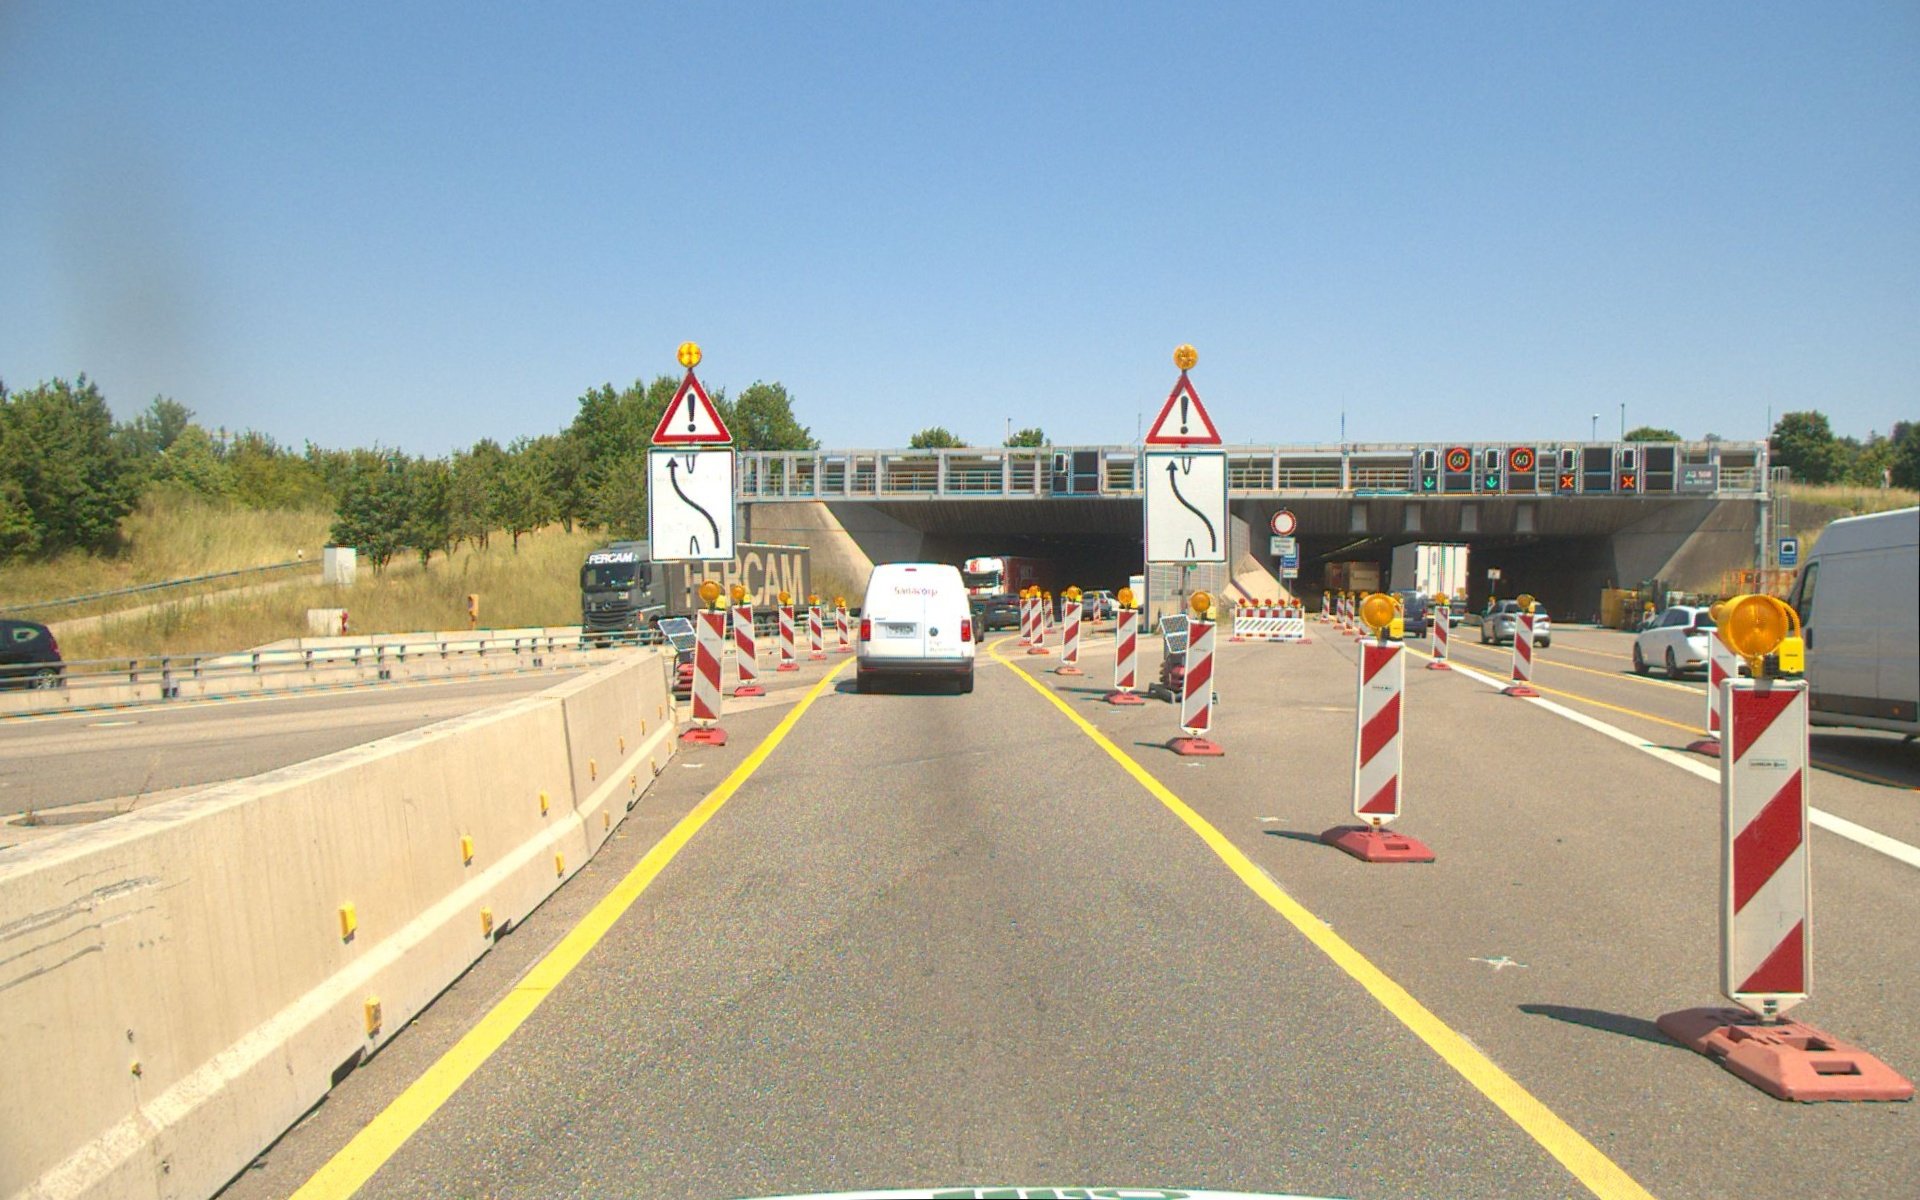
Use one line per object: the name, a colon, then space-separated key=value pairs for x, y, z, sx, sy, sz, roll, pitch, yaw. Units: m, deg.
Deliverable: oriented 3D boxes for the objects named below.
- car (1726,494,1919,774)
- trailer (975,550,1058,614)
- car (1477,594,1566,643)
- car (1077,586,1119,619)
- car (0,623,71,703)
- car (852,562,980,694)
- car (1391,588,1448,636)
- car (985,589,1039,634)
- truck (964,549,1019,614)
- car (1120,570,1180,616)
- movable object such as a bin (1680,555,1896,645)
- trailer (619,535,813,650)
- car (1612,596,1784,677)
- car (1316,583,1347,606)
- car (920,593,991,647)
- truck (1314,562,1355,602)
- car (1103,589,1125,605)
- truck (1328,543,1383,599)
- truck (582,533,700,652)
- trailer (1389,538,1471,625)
car: x=10.054 y=0.332 z=16.489 sx=2.218 sy=2.580 sz=6.588 roll=1 pitch=0 yaw=5
trailer: x=4.096 y=-1.174 z=115.394 sx=2.288 sy=4.174 sz=13.268 roll=-1 pitch=0 yaw=18
car: x=18.499 y=0.580 z=54.658 sx=1.776 sy=1.490 sz=4.656 roll=2 pitch=0 yaw=6
car: x=7.710 y=0.137 z=92.263 sx=1.770 sy=1.781 sz=4.413 roll=-1 pitch=0 yaw=12
car: x=-19.279 y=1.223 z=31.840 sx=1.679 sy=1.517 sz=3.690 roll=0 pitch=0 yaw=17
car: x=-0.618 y=0.395 z=24.949 sx=1.771 sy=1.825 sz=3.730 roll=0 pitch=0 yaw=0
car: x=16.806 y=0.441 z=60.699 sx=1.776 sy=1.671 sz=4.656 roll=2 pitch=0 yaw=13
car: x=2.259 y=0.464 z=70.867 sx=1.770 sy=1.847 sz=4.413 roll=-1 pitch=0 yaw=9
truck: x=2.130 y=-1.171 z=109.187 sx=2.285 sy=4.180 sz=5.020 roll=-1 pitch=0 yaw=17
car: x=12.617 y=-0.417 z=109.307 sx=2.754 sy=2.822 sz=7.105 roll=1 pitch=-1 yaw=16
movable object such as a bin: x=31.856 y=0.026 z=64.607 sx=3.045 sy=3.063 sz=14.713 roll=-1 pitch=0 yaw=8
trailer: x=-9.913 y=-0.279 z=69.775 sx=2.384 sy=4.372 sz=13.817 roll=0 pitch=0 yaw=17
car: x=15.122 y=0.764 z=34.168 sx=1.777 sy=1.490 sz=4.654 roll=2 pitch=-1 yaw=5
car: x=28.122 y=-0.432 z=125.248 sx=1.776 sy=1.658 sz=4.193 roll=2 pitch=0 yaw=6
car: x=-0.098 y=0.581 z=50.679 sx=1.770 sy=1.564 sz=4.412 roll=-1 pitch=0 yaw=5
truck: x=42.872 y=-1.962 z=189.851 sx=3.329 sy=4.142 sz=16.549 roll=2 pitch=0 yaw=8
car: x=15.094 y=-0.261 z=161.756 sx=1.651 sy=1.419 sz=4.003 roll=-3 pitch=-1 yaw=12
truck: x=35.858 y=-2.535 z=150.498 sx=3.329 sy=4.411 sz=16.548 roll=2 pitch=-1 yaw=8
truck: x=-12.052 y=-0.268 z=62.826 sx=2.380 sy=4.344 sz=4.841 roll=0 pitch=0 yaw=17
trailer: x=24.410 y=-0.844 z=86.564 sx=2.674 sy=4.133 sz=14.107 roll=2 pitch=0 yaw=10
